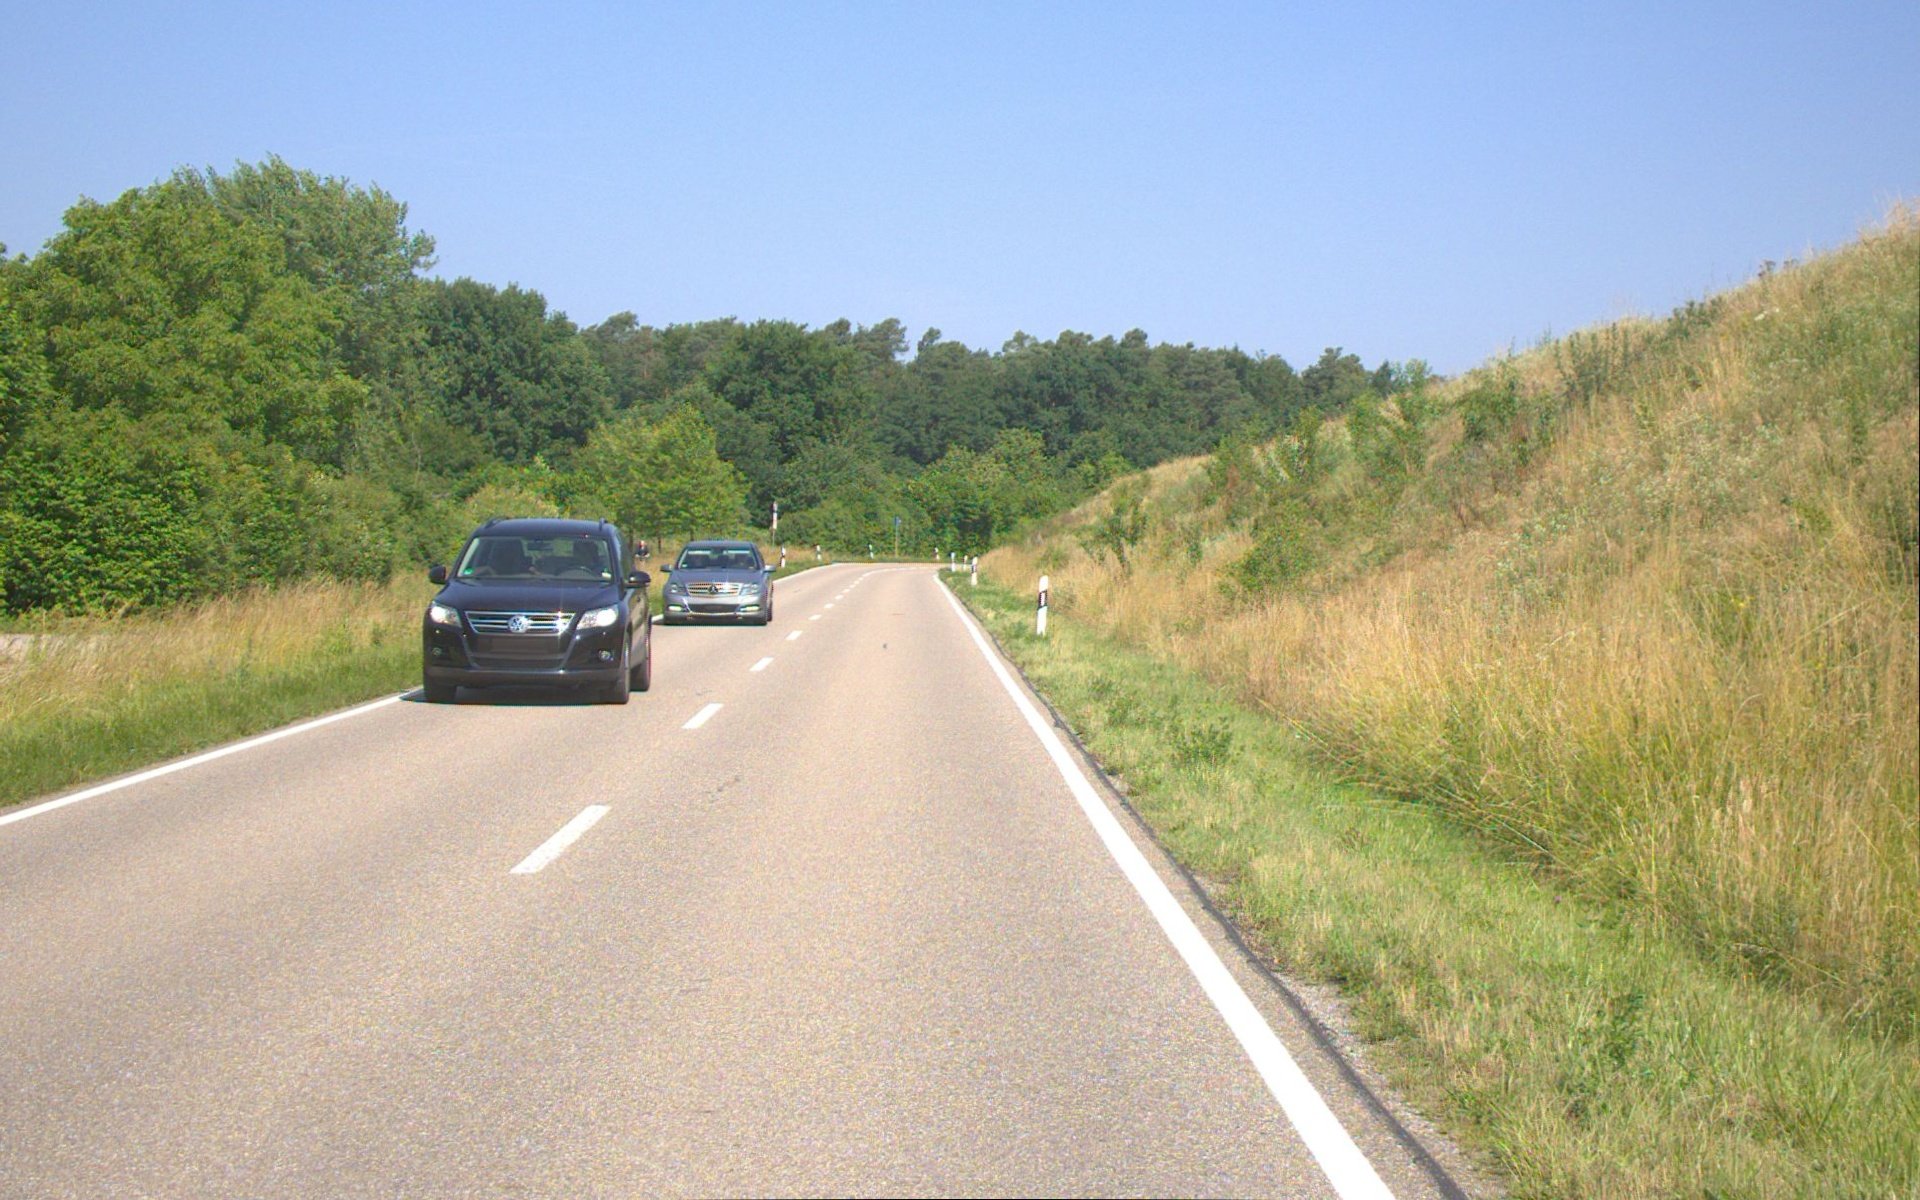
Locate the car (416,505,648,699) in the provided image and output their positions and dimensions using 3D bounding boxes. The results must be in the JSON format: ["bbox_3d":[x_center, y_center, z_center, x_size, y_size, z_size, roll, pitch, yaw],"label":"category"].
[{"bbox_3d":[-3.879,-0.020,31.702,1.716,1.641,3.915,1,1,-1],"label":"car"}]

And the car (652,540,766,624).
[{"bbox_3d":[-4.324,-0.323,59.746,1.722,1.349,4.000,2,1,-1],"label":"car"}]
